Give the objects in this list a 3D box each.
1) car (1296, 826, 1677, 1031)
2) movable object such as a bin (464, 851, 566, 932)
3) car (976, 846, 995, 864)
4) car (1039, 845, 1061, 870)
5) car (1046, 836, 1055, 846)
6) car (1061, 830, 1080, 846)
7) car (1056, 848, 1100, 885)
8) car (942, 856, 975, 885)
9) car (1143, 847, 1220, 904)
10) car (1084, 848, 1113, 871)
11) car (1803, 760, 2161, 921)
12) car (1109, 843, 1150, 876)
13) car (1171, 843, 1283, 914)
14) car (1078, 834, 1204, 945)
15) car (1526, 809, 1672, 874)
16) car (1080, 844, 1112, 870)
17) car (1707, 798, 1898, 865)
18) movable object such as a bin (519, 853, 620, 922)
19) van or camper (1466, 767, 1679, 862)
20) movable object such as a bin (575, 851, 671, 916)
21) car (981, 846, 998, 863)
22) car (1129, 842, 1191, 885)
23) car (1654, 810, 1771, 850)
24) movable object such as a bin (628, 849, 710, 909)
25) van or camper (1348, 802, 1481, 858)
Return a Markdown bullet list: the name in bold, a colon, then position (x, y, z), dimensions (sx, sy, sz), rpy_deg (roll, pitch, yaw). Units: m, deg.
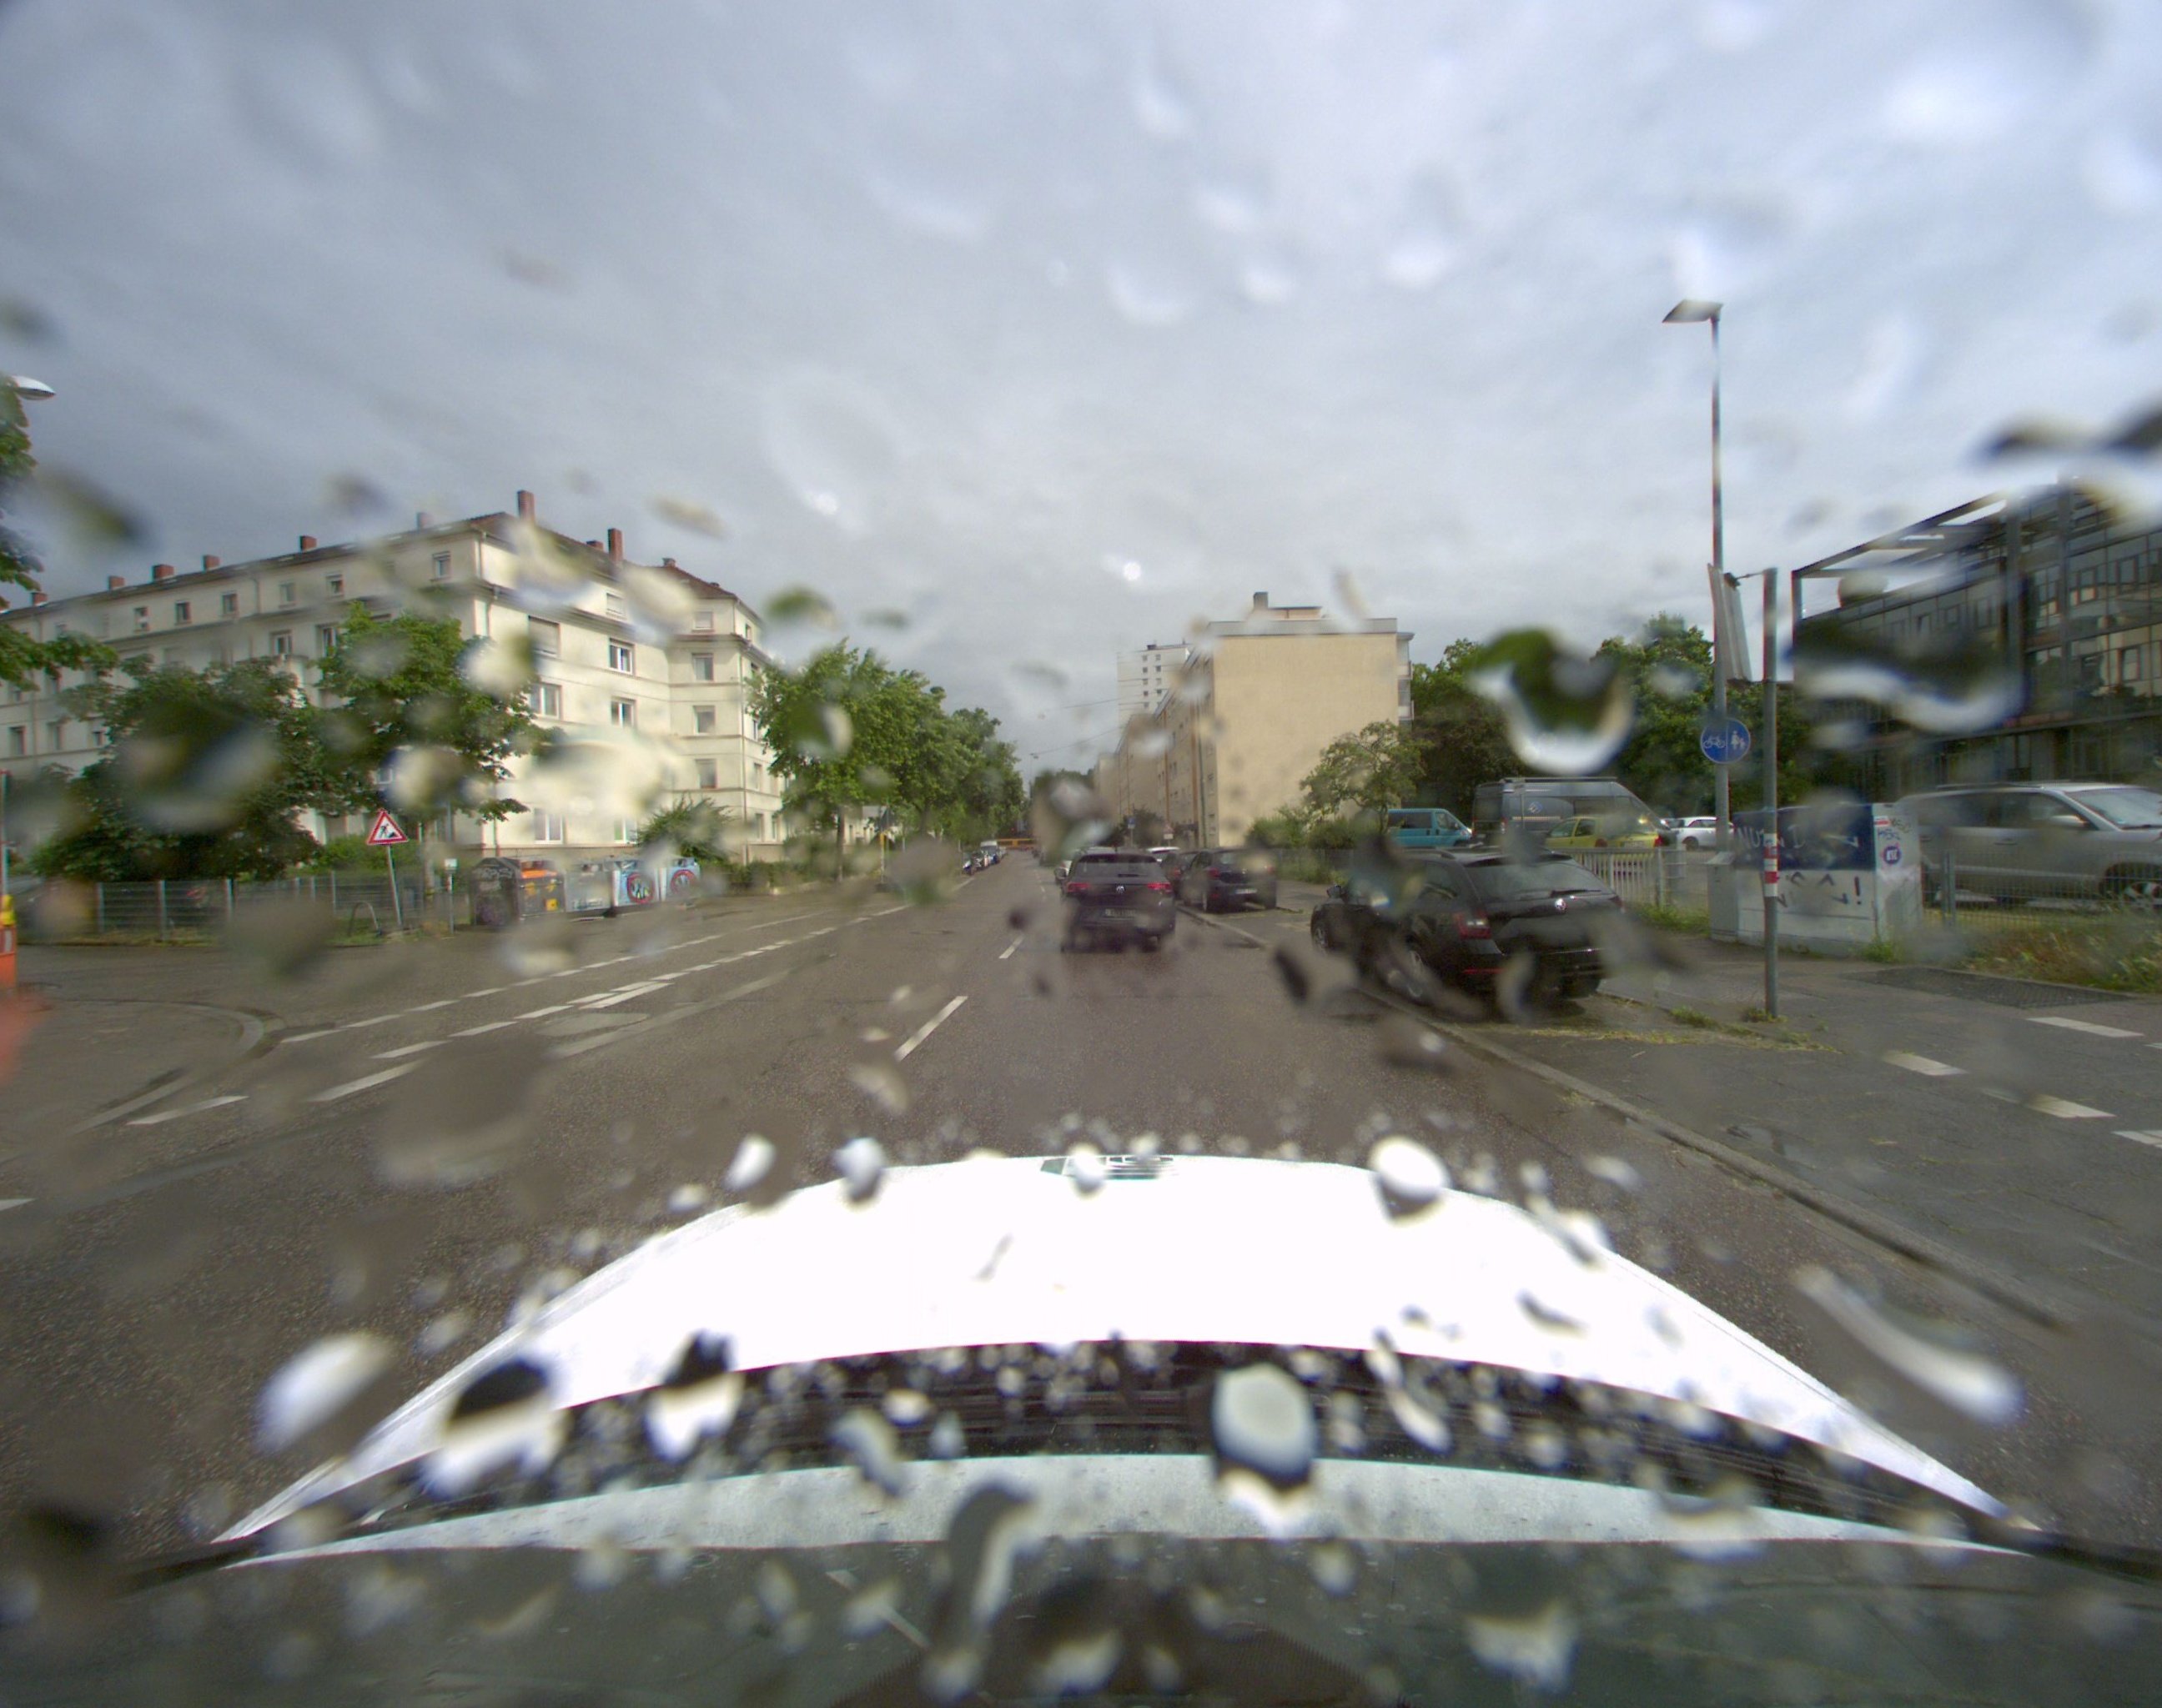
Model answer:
- **car**: position (3.910, 0.582, 8.852), dimensions (1.769, 1.539, 4.375), rpy_deg (-4, 1, -2)
- **movable object such as a bin**: position (-13.676, 0.889, 19.722), dimensions (1.525, 1.824, 1.269), rpy_deg (-2, 1, 18)
- **car**: position (-9.194, 0.070, 78.769), dimensions (1.583, 1.639, 3.914), rpy_deg (-3, 1, -5)
- **car**: position (-2.651, 0.285, 70.475), dimensions (1.831, 2.103, 3.997), rpy_deg (0, 0, -2)
- **car**: position (-5.621, -2.414, 150.885), dimensions (1.662, 1.837, 3.996), rpy_deg (-3, 1, -2)
- **car**: position (-1.084, -1.695, 87.849), dimensions (1.834, 1.607, 3.676), rpy_deg (-3, 1, 1)
- **car**: position (-0.145, 0.525, 35.629), dimensions (1.807, 1.503, 3.999), rpy_deg (0, 0, 0)
- **car**: position (-7.280, 0.947, 48.685), dimensions (1.583, 1.505, 4.058), rpy_deg (-3, 1, -5)
- **car**: position (3.033, 0.603, 25.318), dimensions (1.601, 1.508, 4.156), rpy_deg (-4, 0, -3)
- **car**: position (1.226, 0.400, 58.882), dimensions (1.601, 1.505, 4.026), rpy_deg (-3, 1, -4)
- **car**: position (12.559, -0.208, 11.012), dimensions (1.798, 1.749, 4.237), rpy_deg (-3, 1, 0)
- **car**: position (2.528, 0.246, 42.994), dimensions (1.602, 1.661, 4.025), rpy_deg (0, 1, -5)
- **car**: position (3.556, 0.561, 20.556), dimensions (1.754, 1.527, 3.993), rpy_deg (-2, 0, -5)
- **car**: position (0.888, 0.533, 14.168), dimensions (1.867, 1.645, 4.060), rpy_deg (0, 0, -1)
- **car**: position (12.979, -0.309, 20.664), dimensions (1.604, 1.448, 3.419), rpy_deg (-3, 1, 2)
- **car**: position (0.938, 0.162, 53.020), dimensions (1.691, 1.538, 4.028), rpy_deg (-3, 1, -3)
- **car**: position (18.160, -0.550, 20.752), dimensions (1.642, 1.486, 3.721), rpy_deg (-3, 1, 2)
- **movable object such as a bin**: position (-13.330, 0.863, 21.269), dimensions (1.525, 1.656, 1.535), rpy_deg (-2, 1, 18)
- **van or camper**: position (14.487, -1.118, 24.244), dimensions (4.981, 2.554, 2.175), rpy_deg (-2, 0, 0)
- **movable object such as a bin**: position (-12.803, 0.805, 22.840), dimensions (1.525, 1.674, 1.674), rpy_deg (-2, 1, 18)
- **car**: position (-9.500, 0.020, 84.505), dimensions (1.583, 1.639, 3.914), rpy_deg (-3, 1, -5)
- **car**: position (3.012, 0.399, 31.818), dimensions (1.746, 1.508, 4.105), rpy_deg (-2, -1, -4)
- **car**: position (26.945, -1.013, 34.830), dimensions (3.651, 1.486, 1.640), rpy_deg (-3, 1, 2)
- **movable object such as a bin**: position (-12.306, 0.726, 24.365), dimensions (1.525, 1.661, 1.466), rpy_deg (-2, 1, 18)
- **van or camper**: position (14.078, -1.018, 34.618), dimensions (4.739, 2.131, 2.324), rpy_deg (-2, 1, 3)
